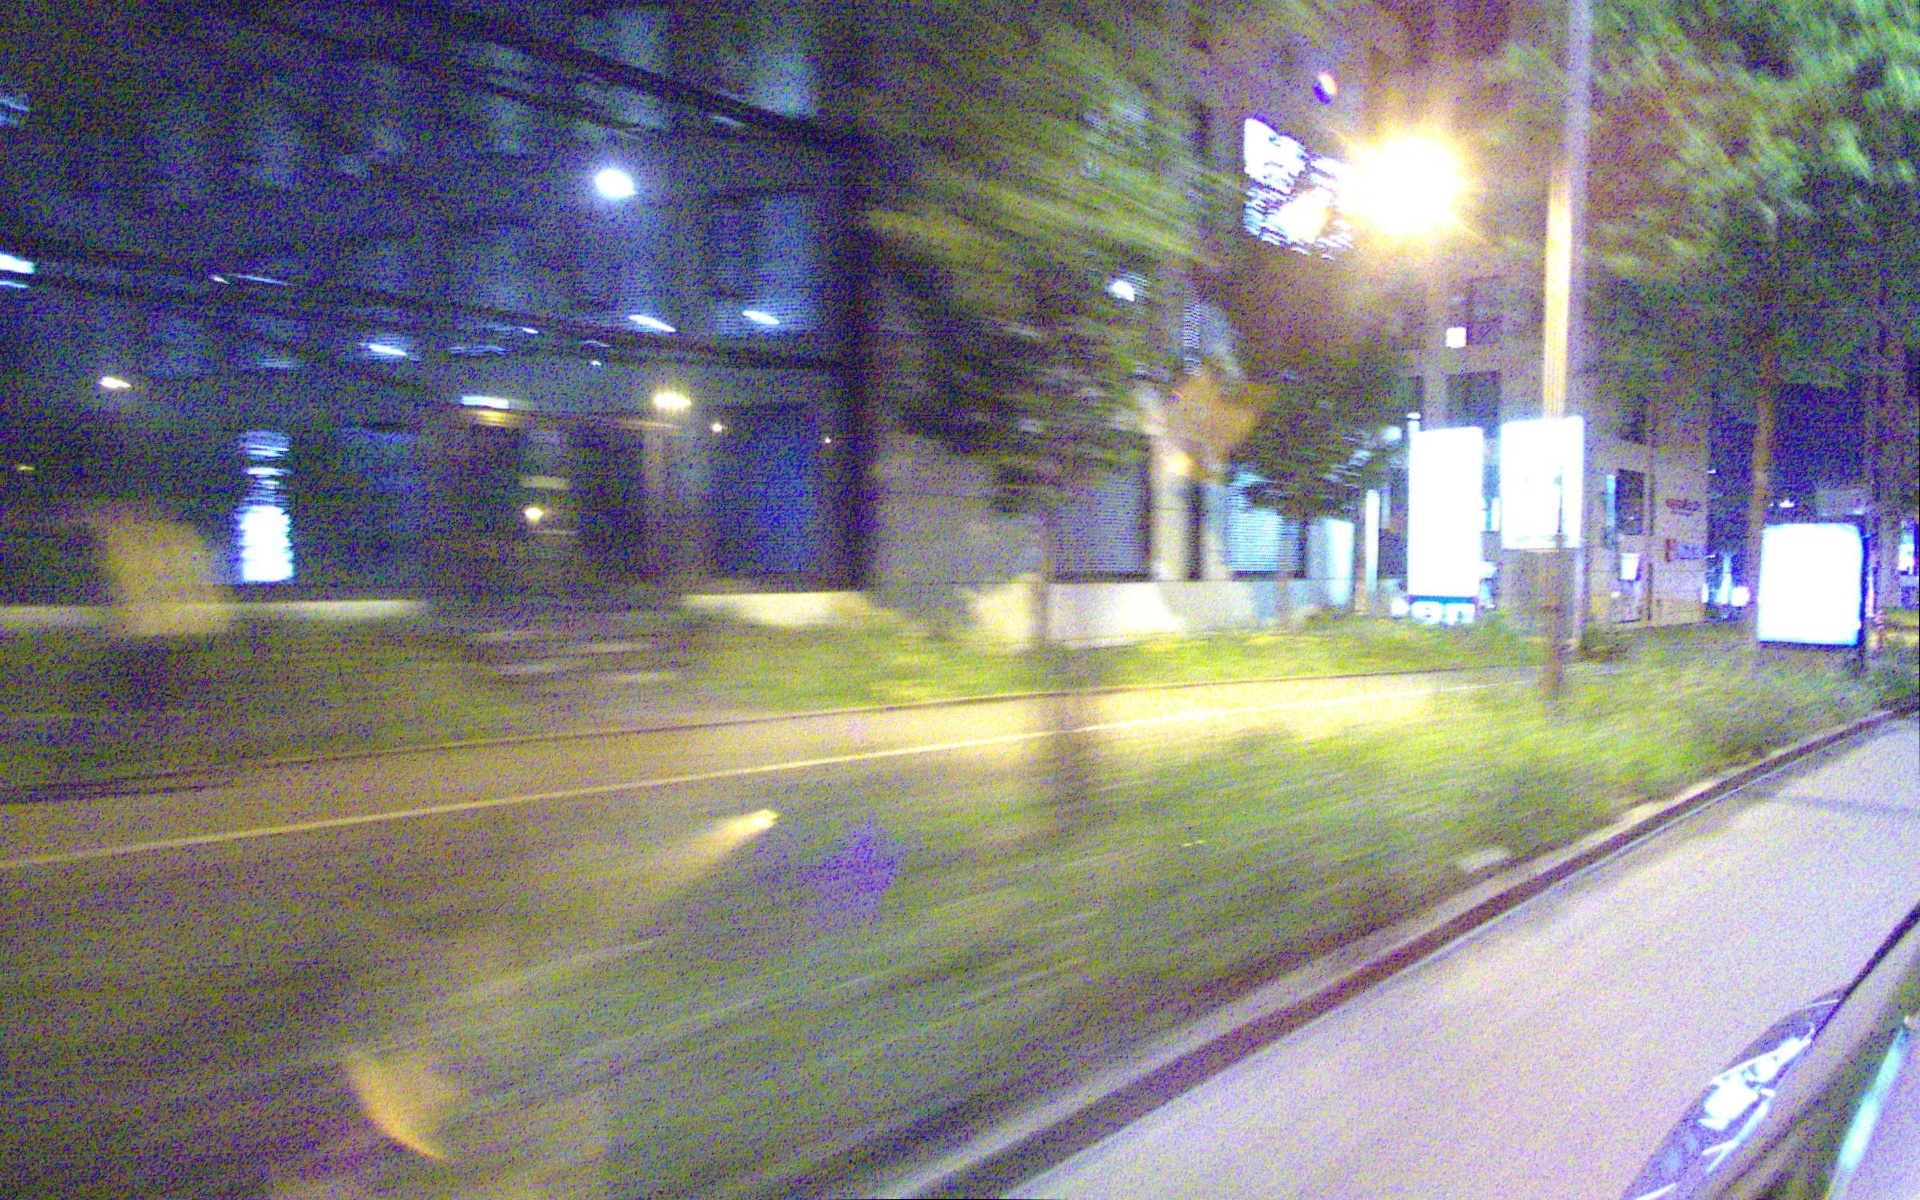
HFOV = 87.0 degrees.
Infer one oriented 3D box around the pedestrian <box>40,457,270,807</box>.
[{"bbox_3d":[-4.464,0.146,5.636,0.940,1.728,0.854,0,1,-41],"label":"pedestrian"}]
